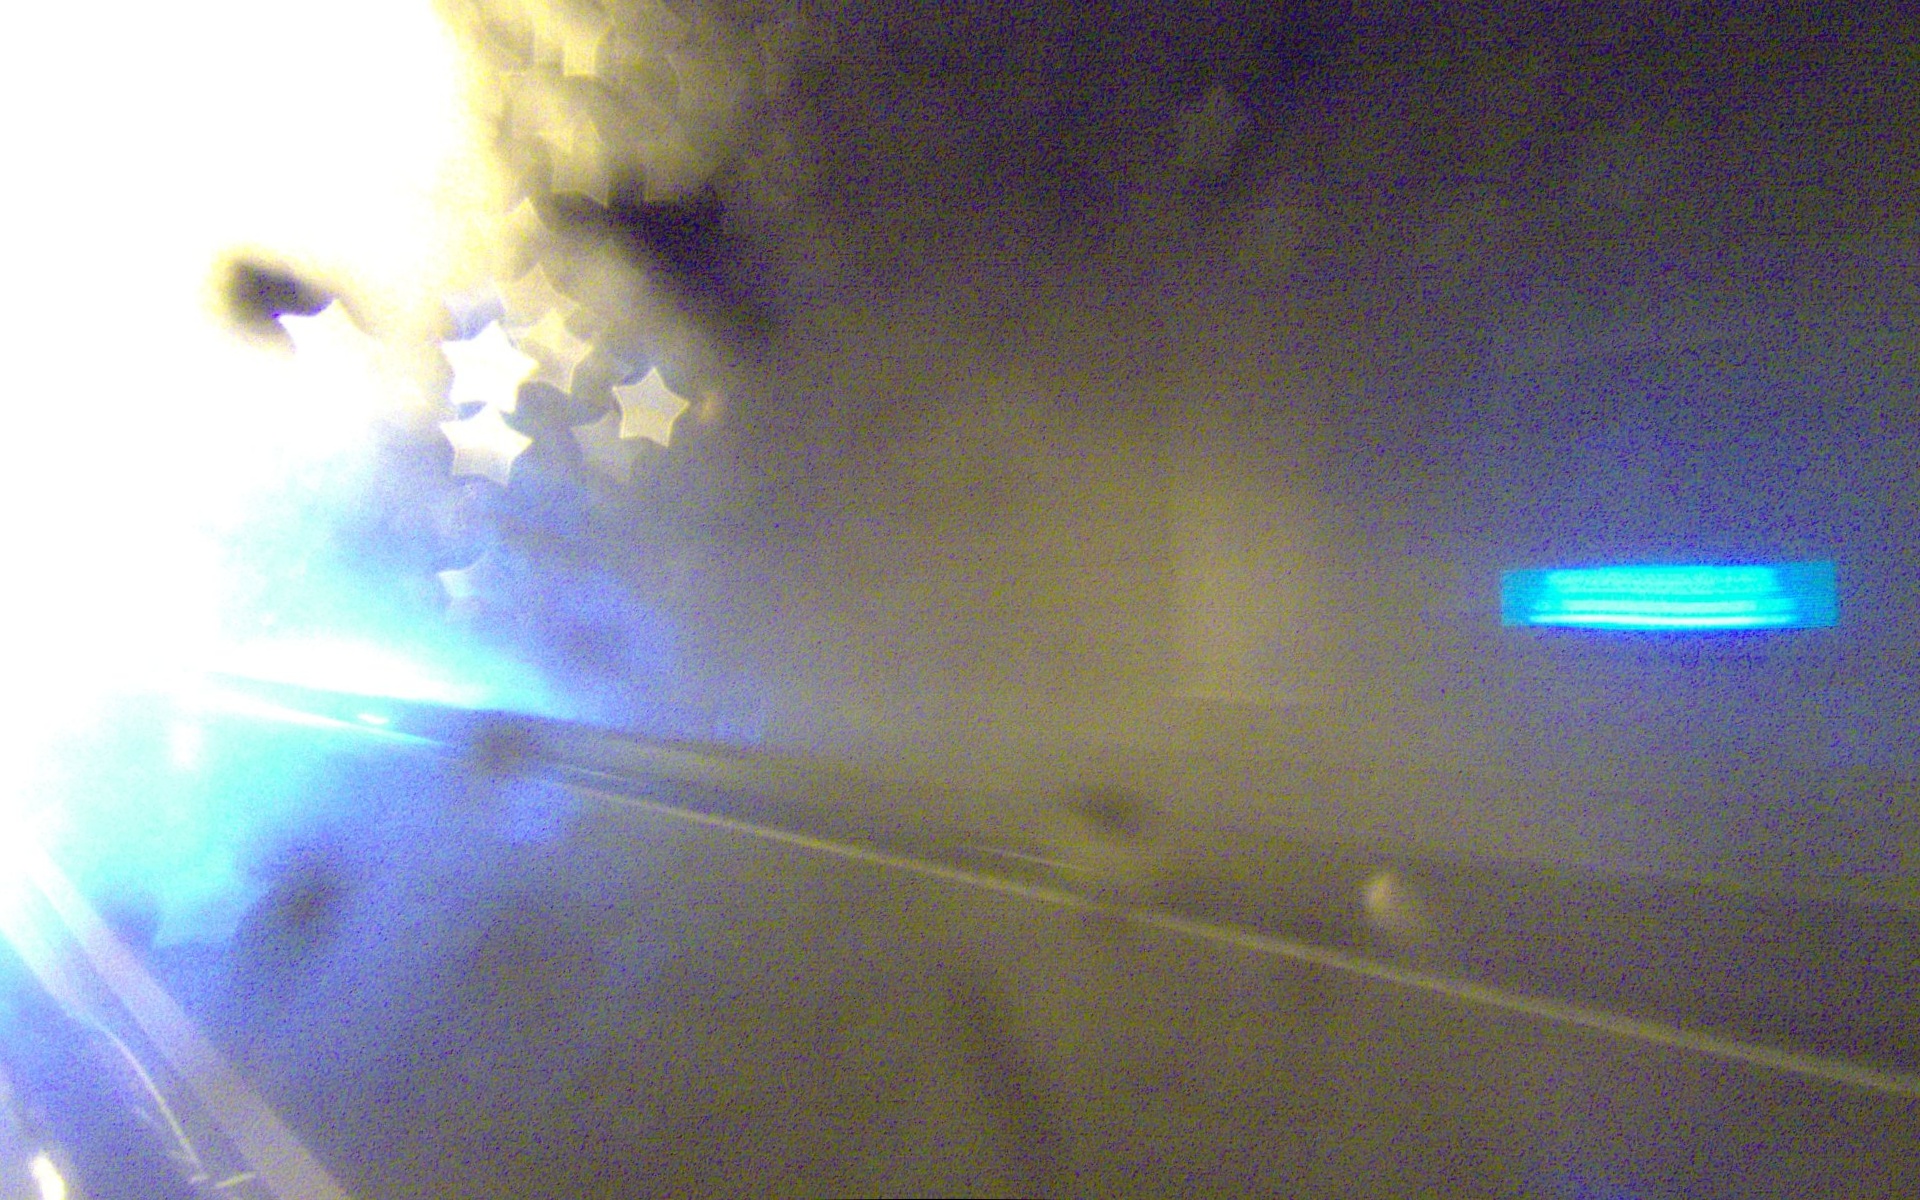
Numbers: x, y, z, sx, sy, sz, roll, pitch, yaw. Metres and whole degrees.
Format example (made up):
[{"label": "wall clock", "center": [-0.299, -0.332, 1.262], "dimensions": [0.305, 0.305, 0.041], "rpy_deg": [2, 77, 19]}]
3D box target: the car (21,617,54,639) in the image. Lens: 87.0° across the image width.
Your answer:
[{"label": "car", "center": [-72.998, 2.229, 80.141], "dimensions": [1.610, 1.662, 3.783], "rpy_deg": [0, -1, -38]}]
